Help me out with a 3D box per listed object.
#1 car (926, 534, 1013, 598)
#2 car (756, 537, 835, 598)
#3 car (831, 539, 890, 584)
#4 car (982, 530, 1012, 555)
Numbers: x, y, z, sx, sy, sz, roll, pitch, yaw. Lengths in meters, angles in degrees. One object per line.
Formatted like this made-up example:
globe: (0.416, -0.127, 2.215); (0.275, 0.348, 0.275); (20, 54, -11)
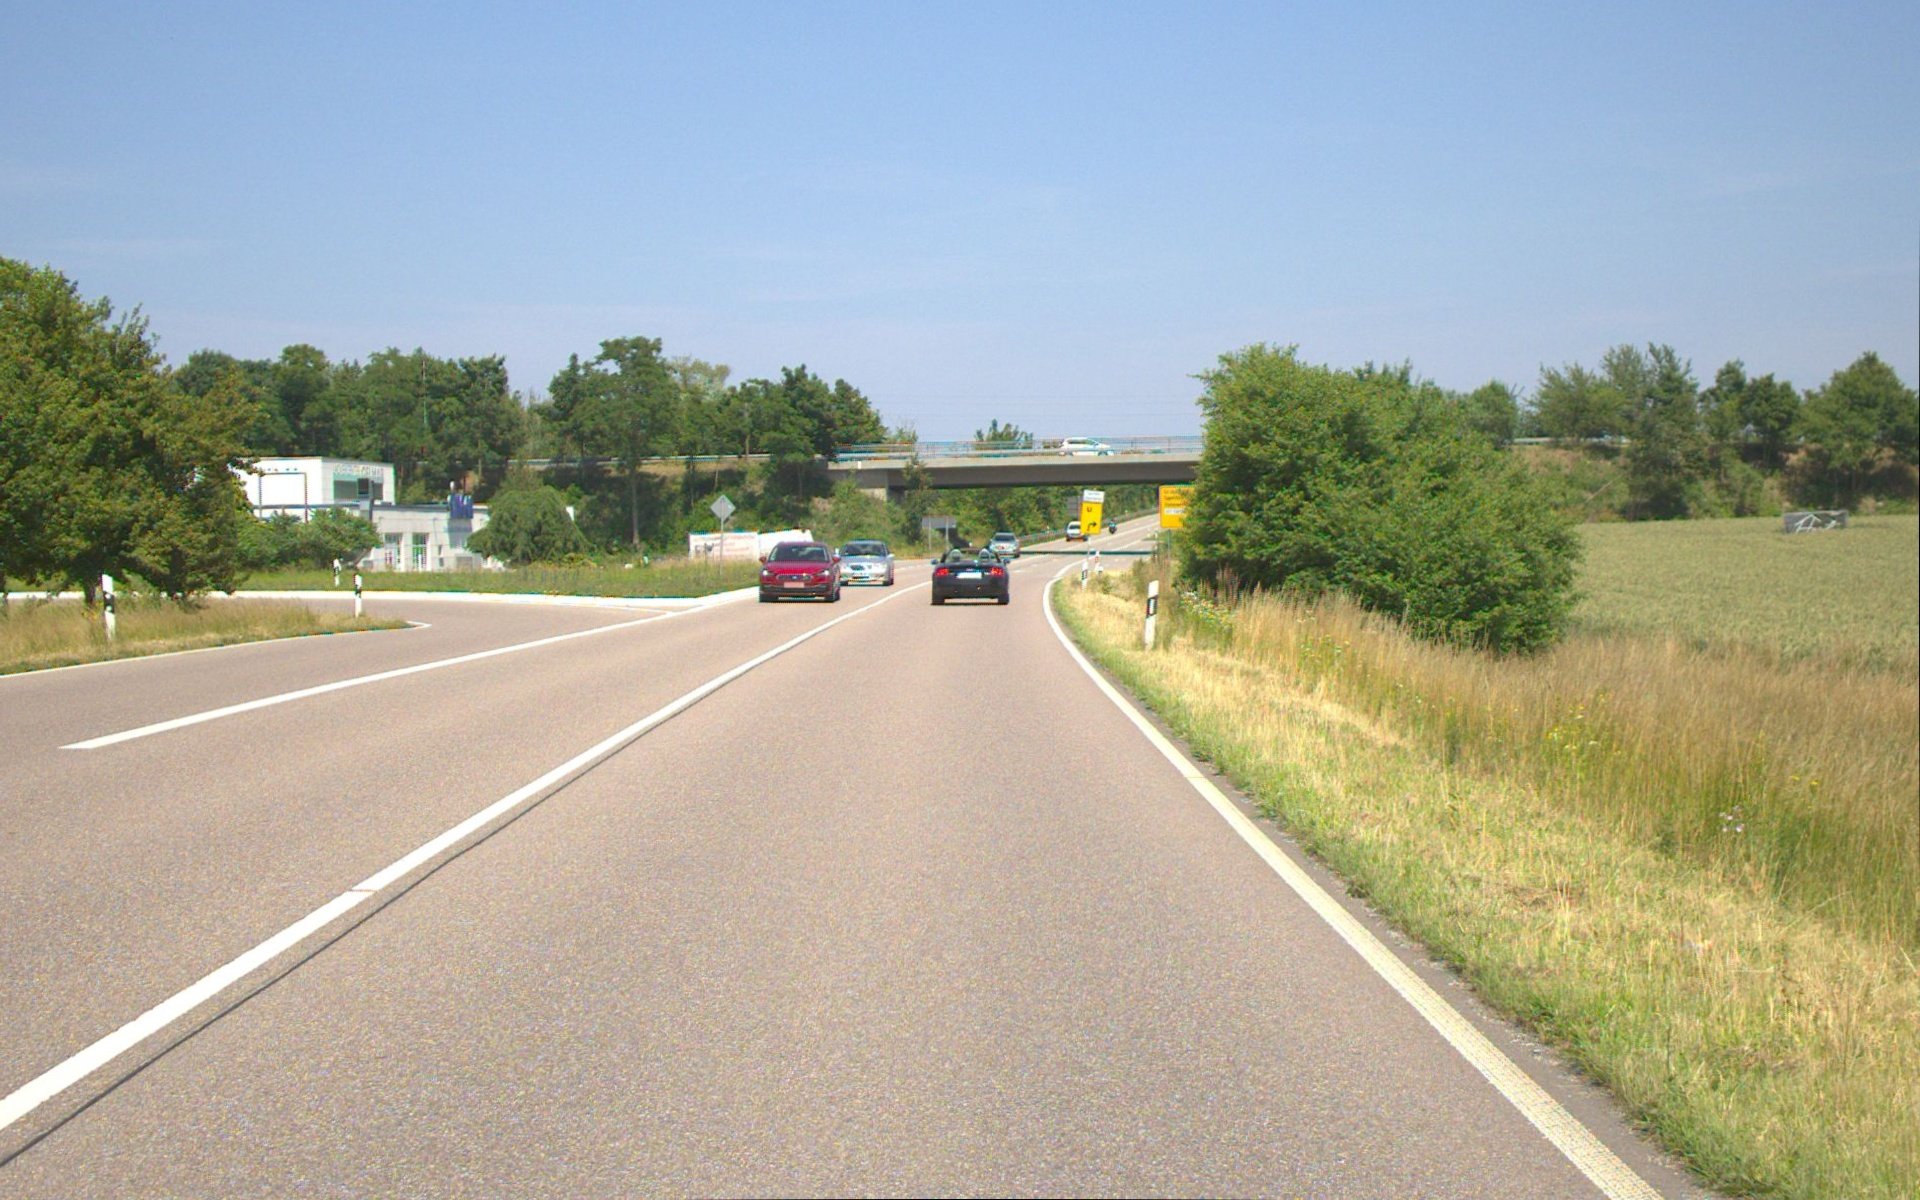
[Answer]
car: (0.193, -0.798, 79.344); (1.814, 1.436, 4.001); (0, 1, -3)
car: (-3.938, -0.815, 82.968); (1.742, 1.407, 4.625); (1, 1, -1)
car: (-3.128, -1.226, 109.154); (1.731, 1.386, 4.491); (0, 1, 0)
car: (2.397, -3.739, 224.225); (1.831, 1.562, 3.334); (1, 0, -1)
